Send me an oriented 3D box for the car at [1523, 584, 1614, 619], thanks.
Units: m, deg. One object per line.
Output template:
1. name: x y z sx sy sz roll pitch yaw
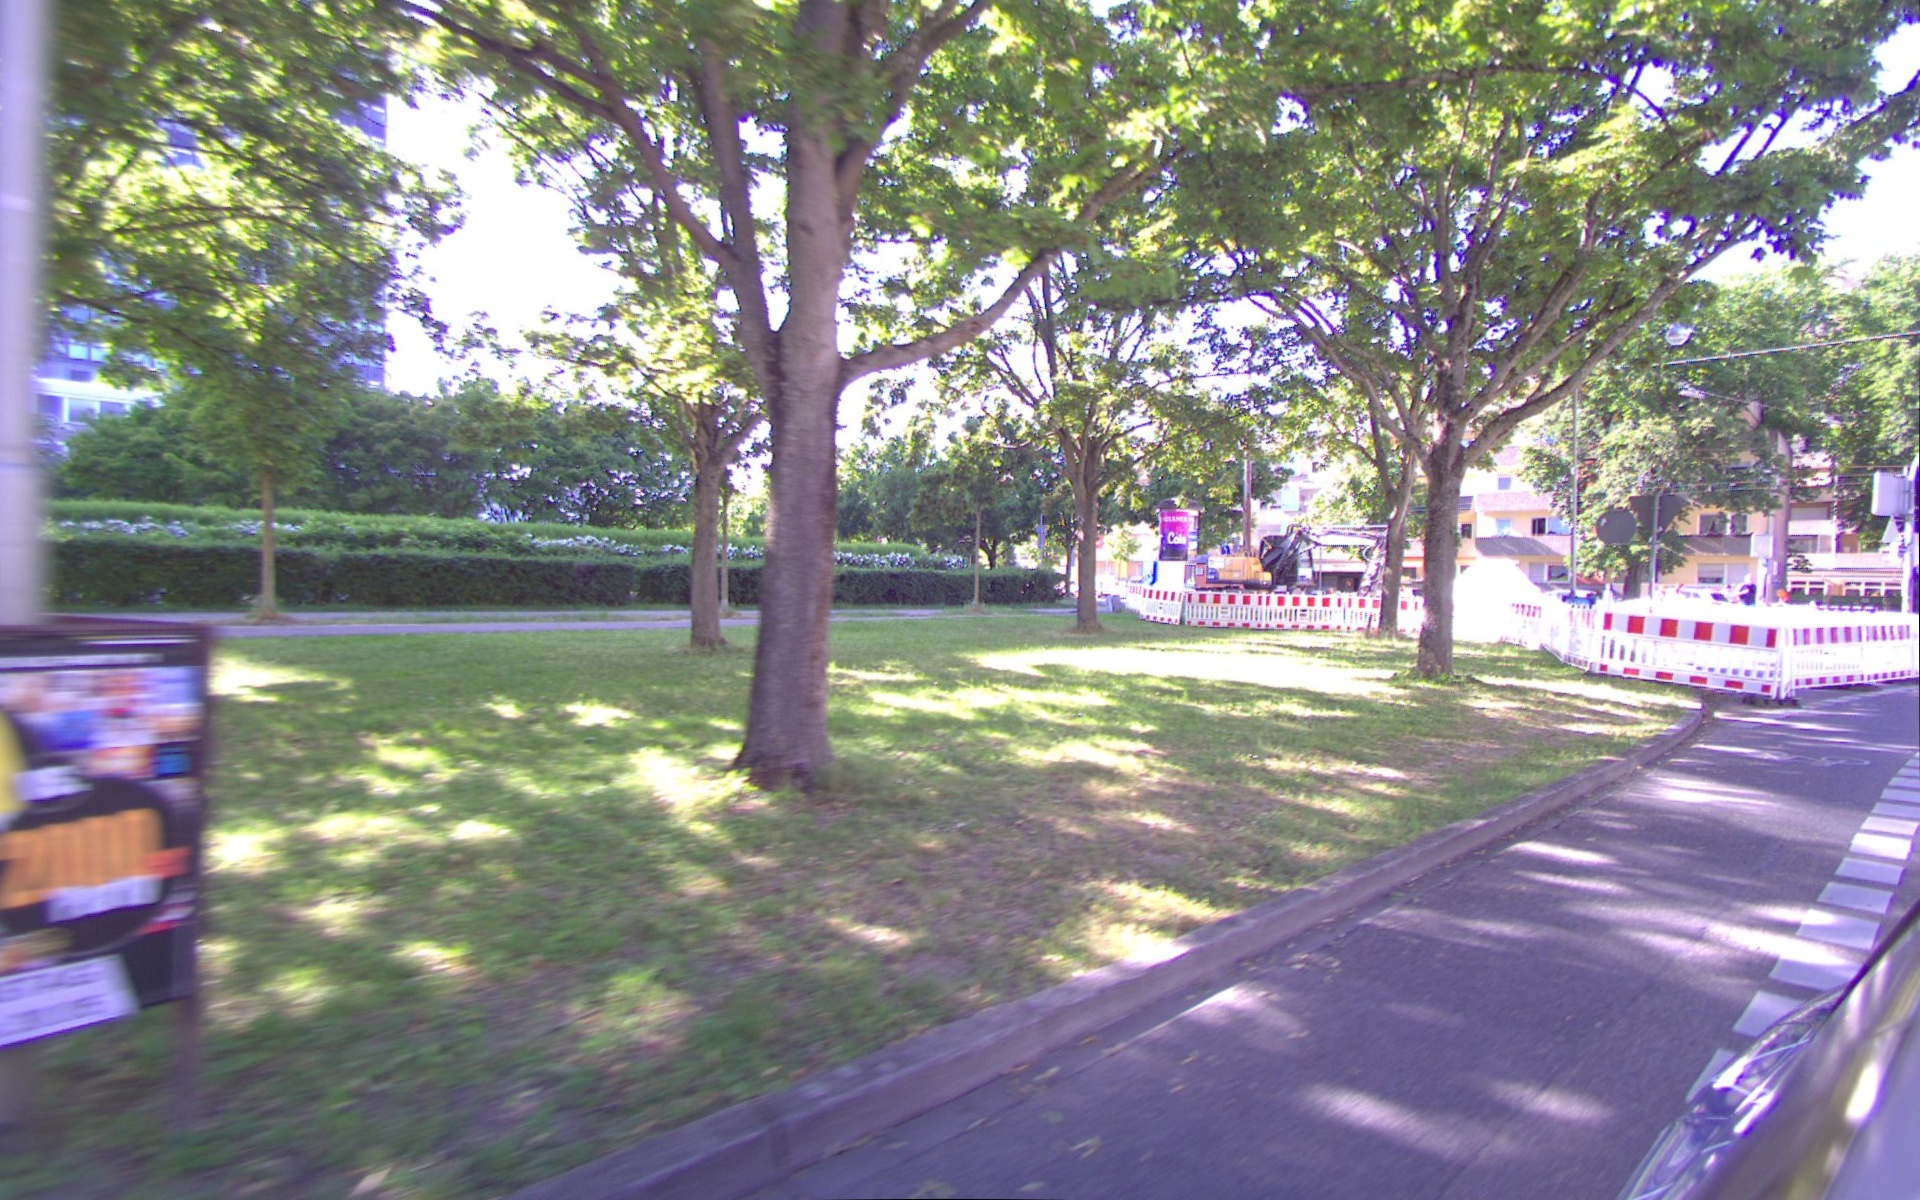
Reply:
1. car: 30.439 0.043 50.693 1.623 1.551 3.513 2 1 -30

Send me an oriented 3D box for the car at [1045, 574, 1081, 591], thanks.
1. car: 9.853 -1.711 96.802 1.728 1.574 3.701 1 2 -25

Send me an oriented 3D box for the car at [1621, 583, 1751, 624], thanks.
1. car: 32.499 0.109 45.416 1.896 1.640 4.331 1 2 -27

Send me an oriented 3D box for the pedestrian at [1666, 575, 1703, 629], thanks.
1. pedestrian: 22.361 0.054 31.250 0.622 1.621 0.641 1 1 -17

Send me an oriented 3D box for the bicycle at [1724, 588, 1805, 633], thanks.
1. bicycle: 24.614 0.315 30.994 0.641 1.281 1.787 2 1 -25

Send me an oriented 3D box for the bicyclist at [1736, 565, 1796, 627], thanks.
1. bicyclist: 24.659 -0.121 30.988 0.895 1.853 1.098 1 1 -25

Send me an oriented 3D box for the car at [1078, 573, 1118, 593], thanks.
1. car: 12.444 -1.586 91.730 1.773 1.695 3.884 1 2 -25

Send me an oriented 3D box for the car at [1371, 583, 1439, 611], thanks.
1. car: 25.994 -0.207 59.195 1.454 1.479 3.374 2 1 -30

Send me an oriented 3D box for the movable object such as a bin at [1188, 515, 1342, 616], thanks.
1. movable object such as a bin: 11.043 -1.218 36.914 2.781 3.405 4.710 0 1 -35
